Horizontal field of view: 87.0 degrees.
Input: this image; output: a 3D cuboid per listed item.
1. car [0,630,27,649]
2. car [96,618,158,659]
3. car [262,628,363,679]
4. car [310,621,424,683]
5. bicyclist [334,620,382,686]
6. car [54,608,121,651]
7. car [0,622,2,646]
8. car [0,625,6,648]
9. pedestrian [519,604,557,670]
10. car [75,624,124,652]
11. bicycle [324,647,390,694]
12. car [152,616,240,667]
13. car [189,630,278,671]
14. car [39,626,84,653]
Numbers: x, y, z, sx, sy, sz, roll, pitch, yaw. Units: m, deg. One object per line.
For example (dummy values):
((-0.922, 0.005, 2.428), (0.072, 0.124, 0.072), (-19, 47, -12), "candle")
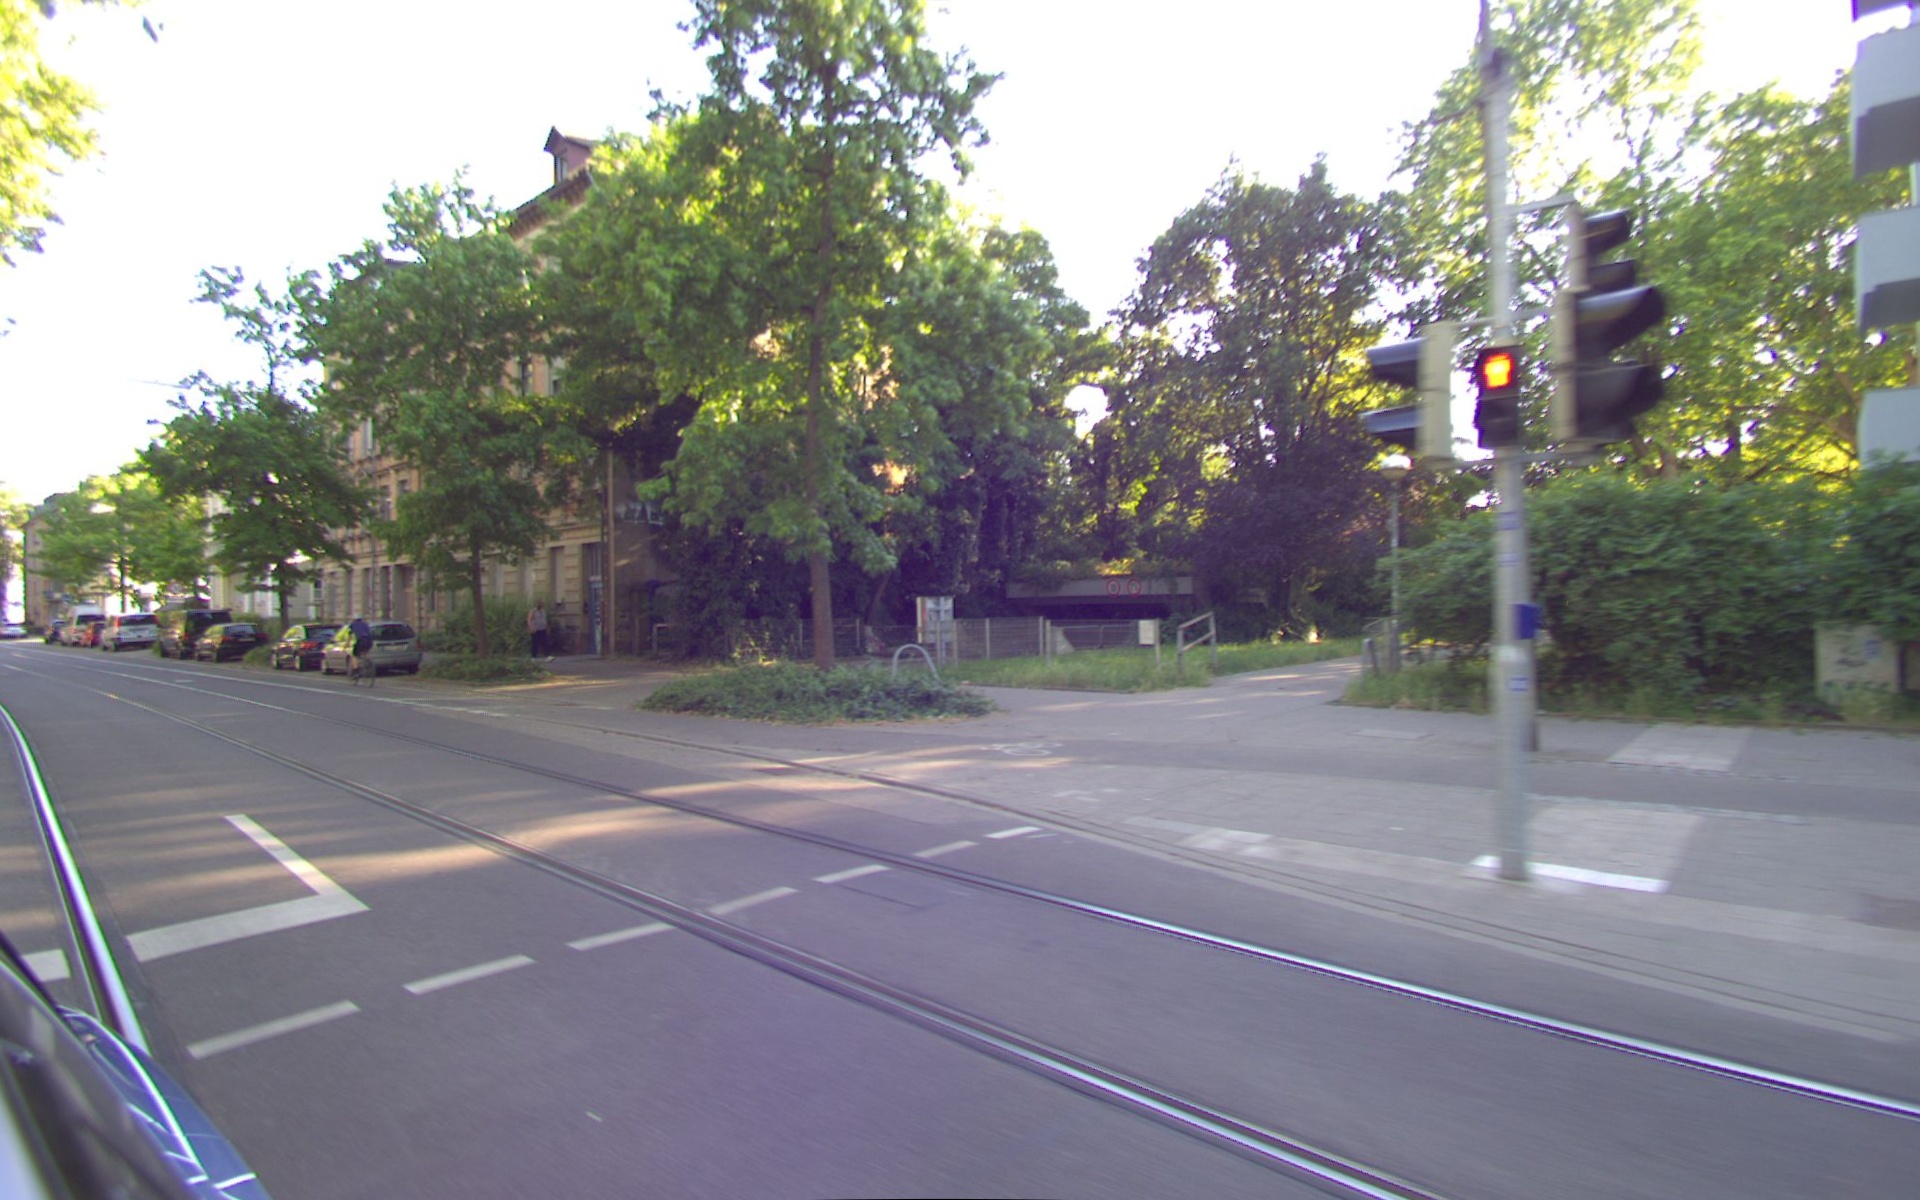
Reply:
((-81.026, 3.374, 86.092), (4.936, 1.504, 1.753), (-2, 0, 39), "car")
((-42.666, 1.944, 51.806), (4.988, 2.004, 1.823), (-2, -2, 43), "car")
((-20.316, 1.627, 31.688), (3.947, 1.456, 1.641), (-2, -1, 41), "car")
((-16.722, 1.399, 28.435), (1.680, 1.562, 4.538), (-1, -1, -45), "car")
((-13.769, 1.218, 23.154), (0.836, 1.466, 0.634), (-2, -5, 41), "bicyclist")
((-53.482, 1.791, 61.994), (5.340, 2.527, 2.280), (-2, -1, 40), "car")
((-93.541, 3.135, 97.086), (4.545, 2.766, 1.903), (-2, 3, 42), "car")
((-89.212, 3.359, 92.919), (4.938, 2.062, 1.903), (-2, 0, 41), "car")
((-12.232, 1.059, 29.315), (0.728, 1.861, 0.734), (-2, 0, 40), "pedestrian")
((-49.974, 2.176, 58.765), (3.706, 1.551, 1.667), (-2, -1, 41), "car")
((-13.791, 1.599, 23.129), (2.100, 0.994, 0.634), (-2, -5, 41), "bicycle")
((-32.109, 1.703, 42.472), (4.831, 2.029, 1.973), (-2, -2, 41), "car")
((-27.921, 1.907, 38.837), (4.267, 1.469, 1.834), (-2, -2, 41), "car")
((-60.546, 2.640, 68.186), (4.263, 1.703, 1.970), (-2, -2, 44), "car")
